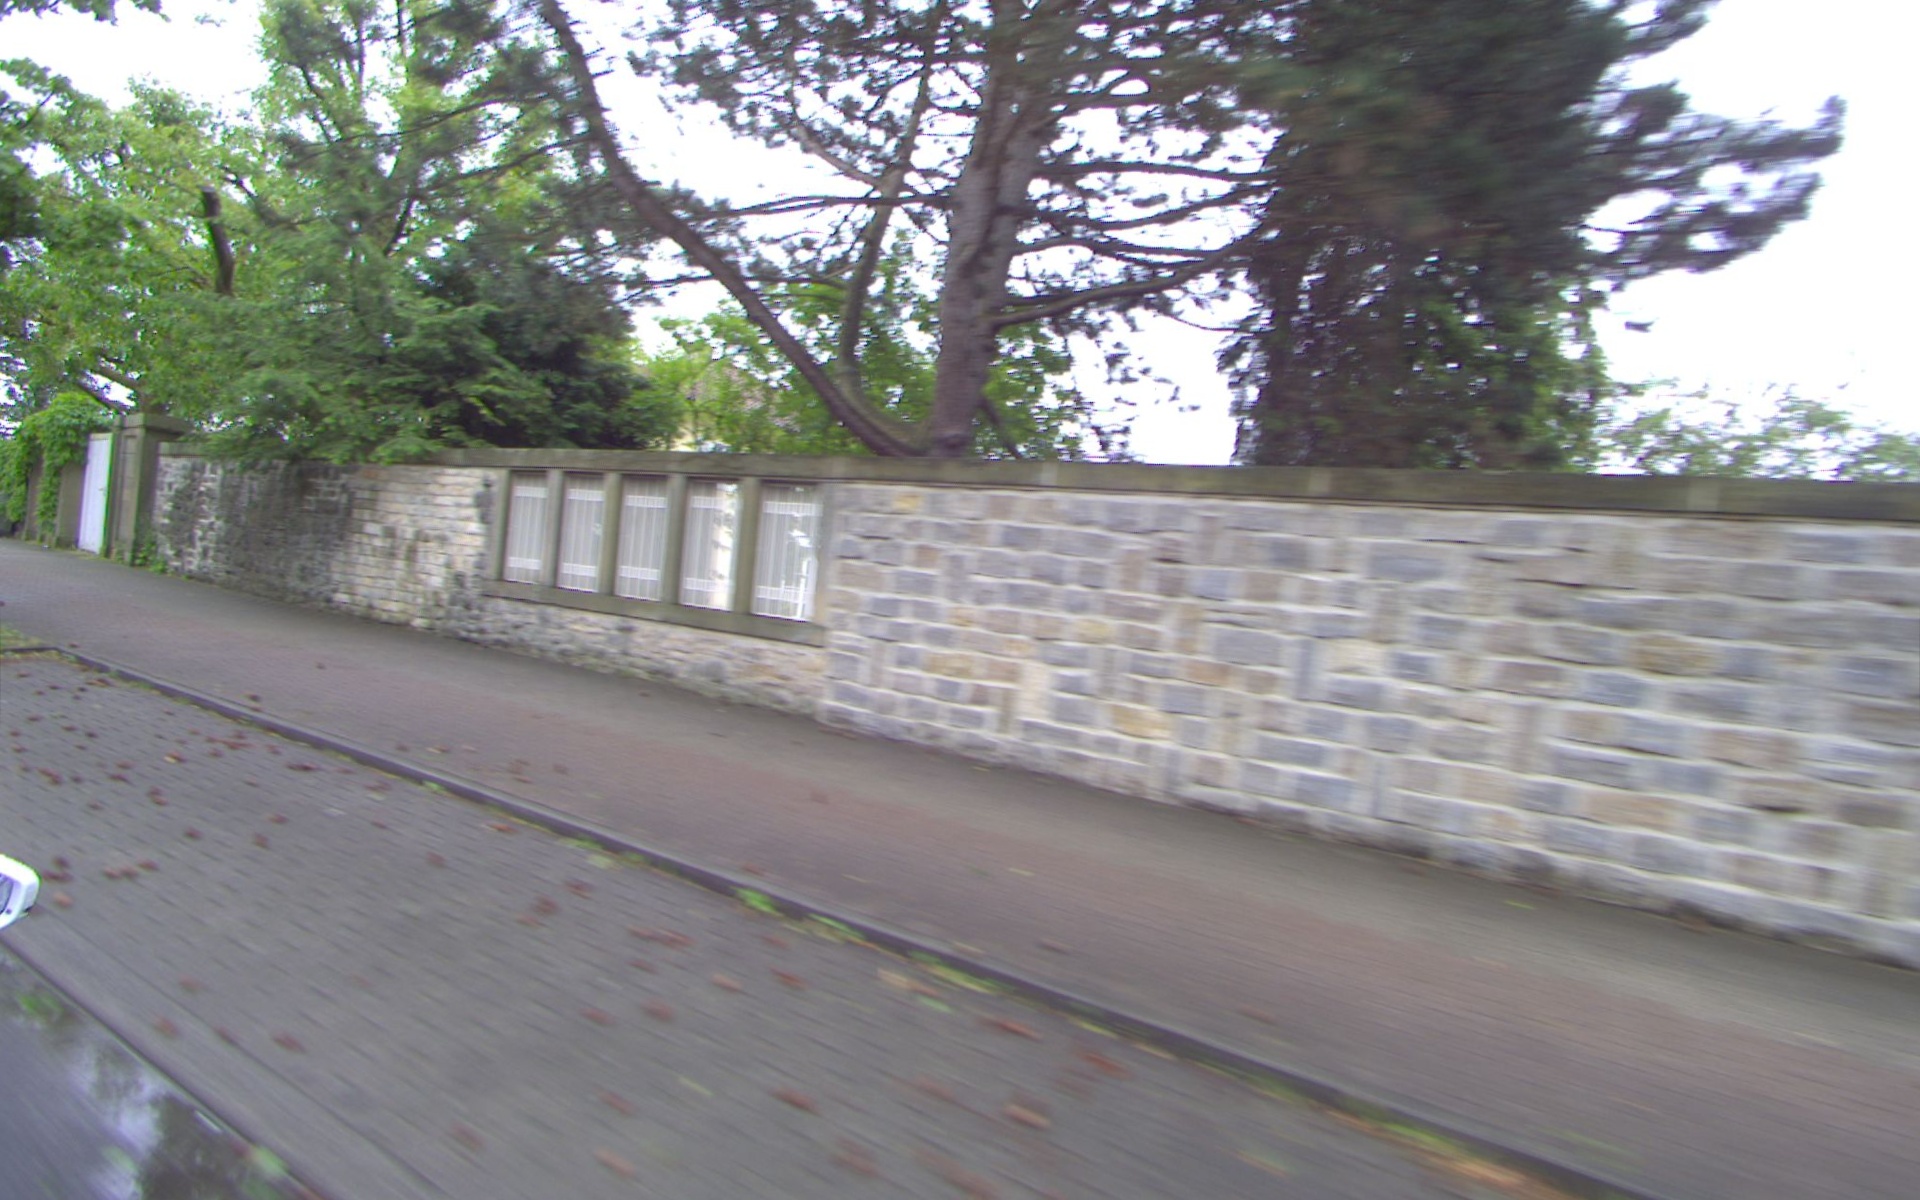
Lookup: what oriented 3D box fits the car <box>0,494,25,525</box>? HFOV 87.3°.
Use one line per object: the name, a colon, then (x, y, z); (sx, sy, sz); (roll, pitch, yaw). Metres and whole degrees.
car: (-53.292, -5.093, 55.901); (1.764, 1.516, 4.490); (6, 0, -42)
